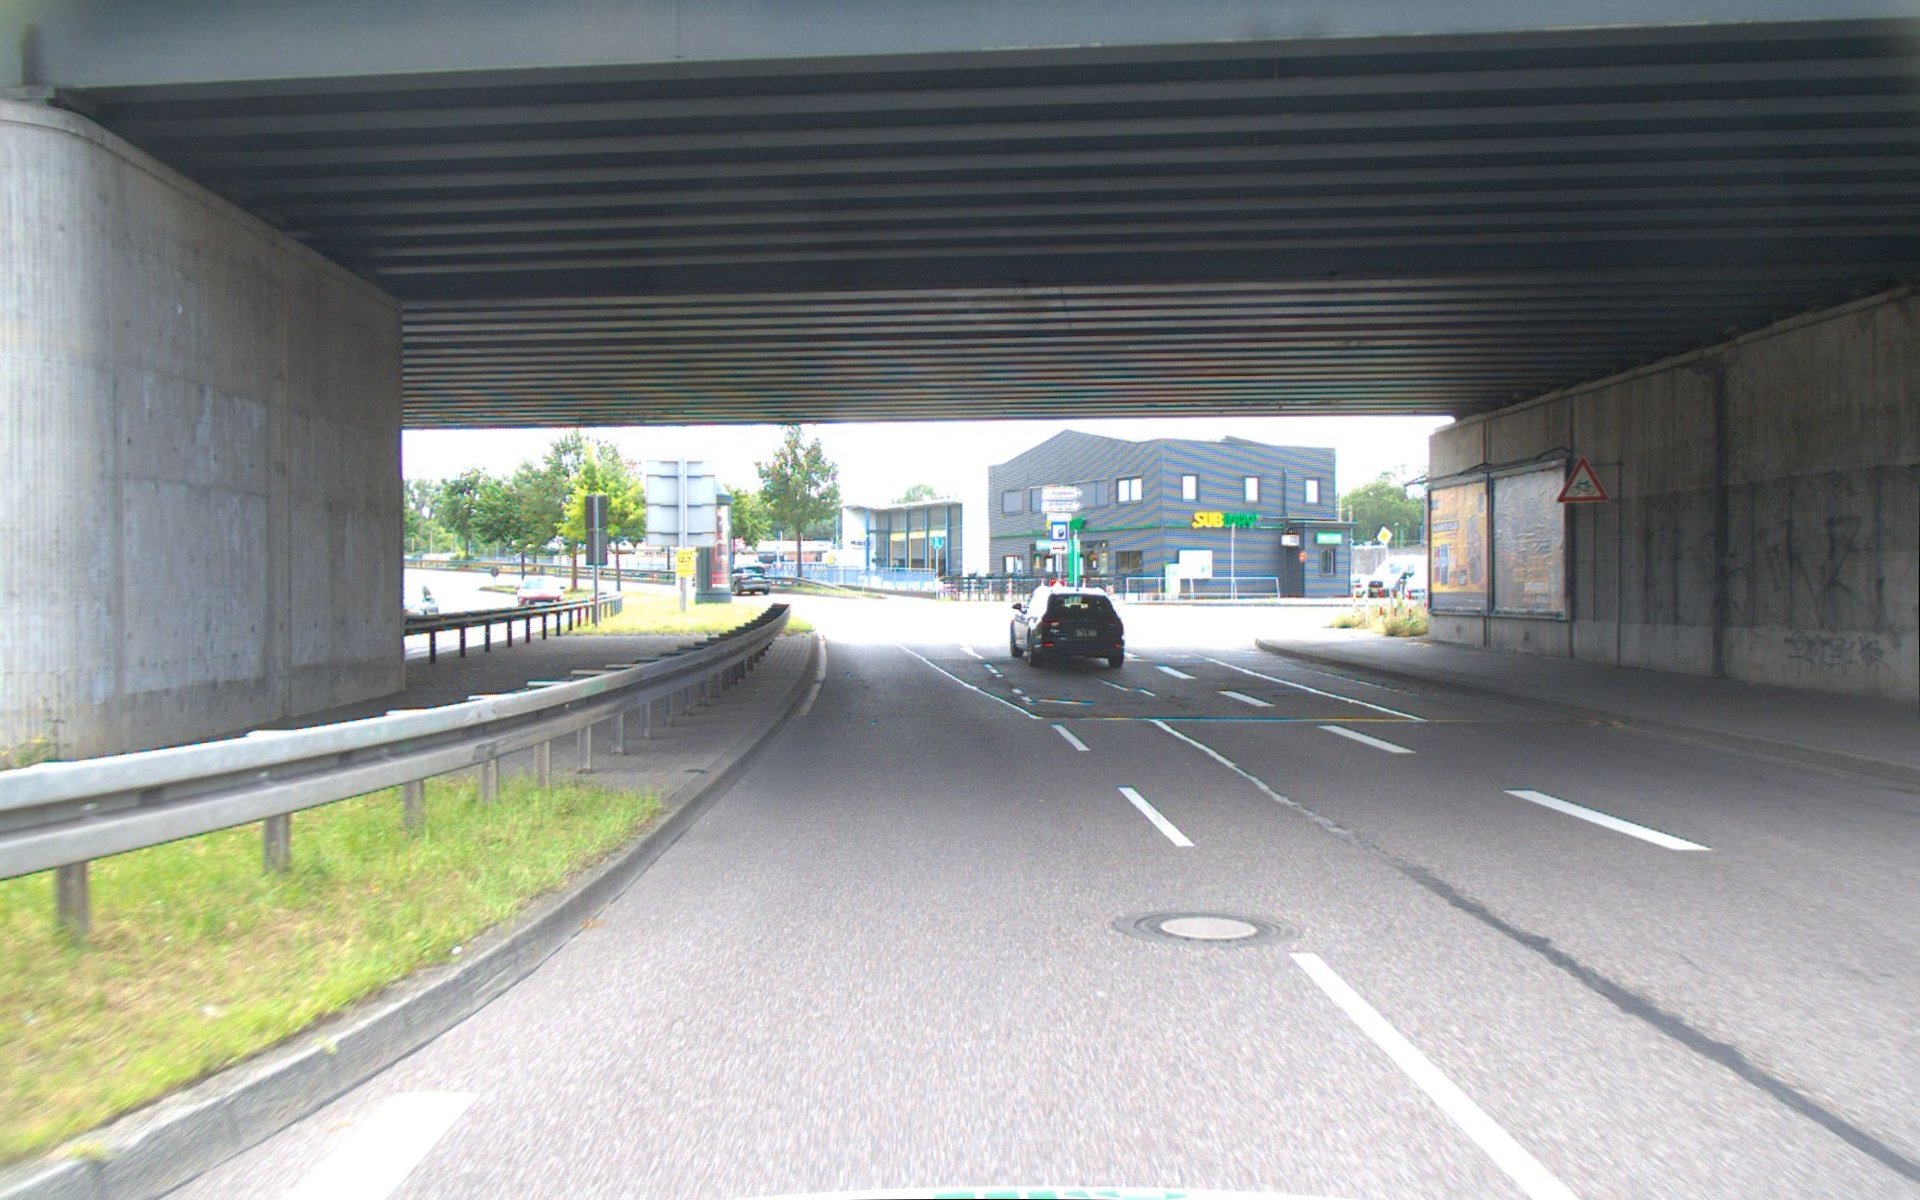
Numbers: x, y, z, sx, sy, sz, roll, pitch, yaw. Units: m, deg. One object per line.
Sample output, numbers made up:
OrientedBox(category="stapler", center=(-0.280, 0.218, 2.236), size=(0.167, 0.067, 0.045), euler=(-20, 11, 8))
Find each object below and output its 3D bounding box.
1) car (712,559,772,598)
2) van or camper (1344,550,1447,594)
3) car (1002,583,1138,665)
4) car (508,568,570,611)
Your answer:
OrientedBox(category="car", center=(-11.890, -1.159, 89.941), size=(1.968, 2.073, 4.675), euler=(-1, 0, -25))
OrientedBox(category="van or camper", center=(23.471, -1.482, 88.983), size=(6.183, 2.211, 2.097), euler=(1, 0, -38))
OrientedBox(category="car", center=(2.027, 0.407, 31.891), size=(1.954, 1.414, 4.572), euler=(1, 1, -5))
OrientedBox(category="car", center=(-17.209, -0.441, 67.809), size=(1.956, 1.704, 4.316), euler=(-1, 1, -8))
